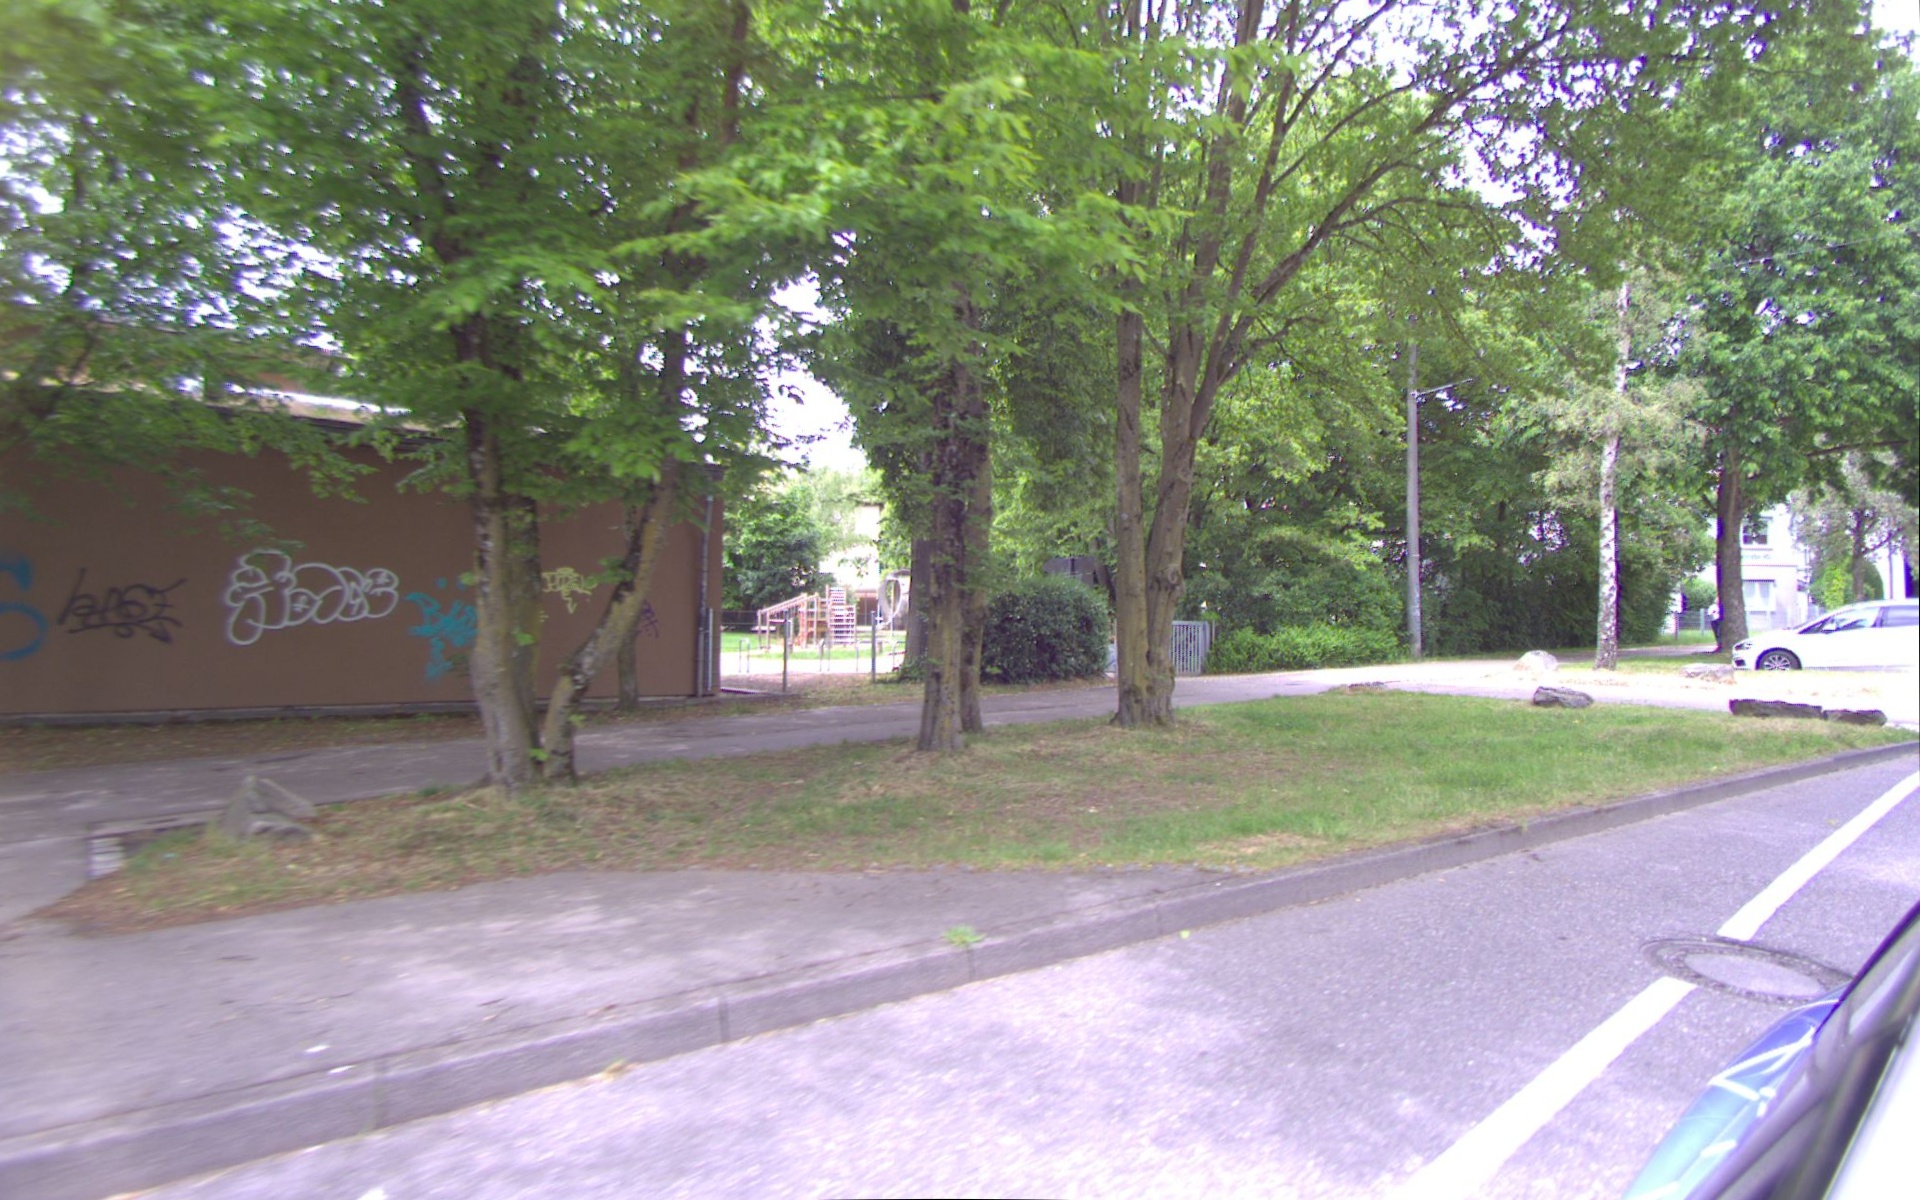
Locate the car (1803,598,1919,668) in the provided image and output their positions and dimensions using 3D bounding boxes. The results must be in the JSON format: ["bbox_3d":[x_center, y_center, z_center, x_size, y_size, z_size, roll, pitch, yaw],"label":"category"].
[{"bbox_3d":[21.015,0.684,21.894,4.123,1.483,1.774,-3,-2,38],"label":"car"}]

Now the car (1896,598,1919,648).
[{"bbox_3d":[30.647,0.617,29.953,3.968,1.483,1.775,-3,-2,32],"label":"car"}]

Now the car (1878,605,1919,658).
[{"bbox_3d":[28.533,0.831,28.263,3.972,1.483,1.843,-3,-2,35],"label":"car"}]

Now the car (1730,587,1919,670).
[{"bbox_3d":[18.660,0.572,20.642,4.467,1.606,1.876,-3,-2,44],"label":"car"}]

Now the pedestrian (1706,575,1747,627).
[{"bbox_3d":[24.699,0.042,32.626,0.762,1.665,0.695,0,-1,-15],"label":"pedestrian"}]
